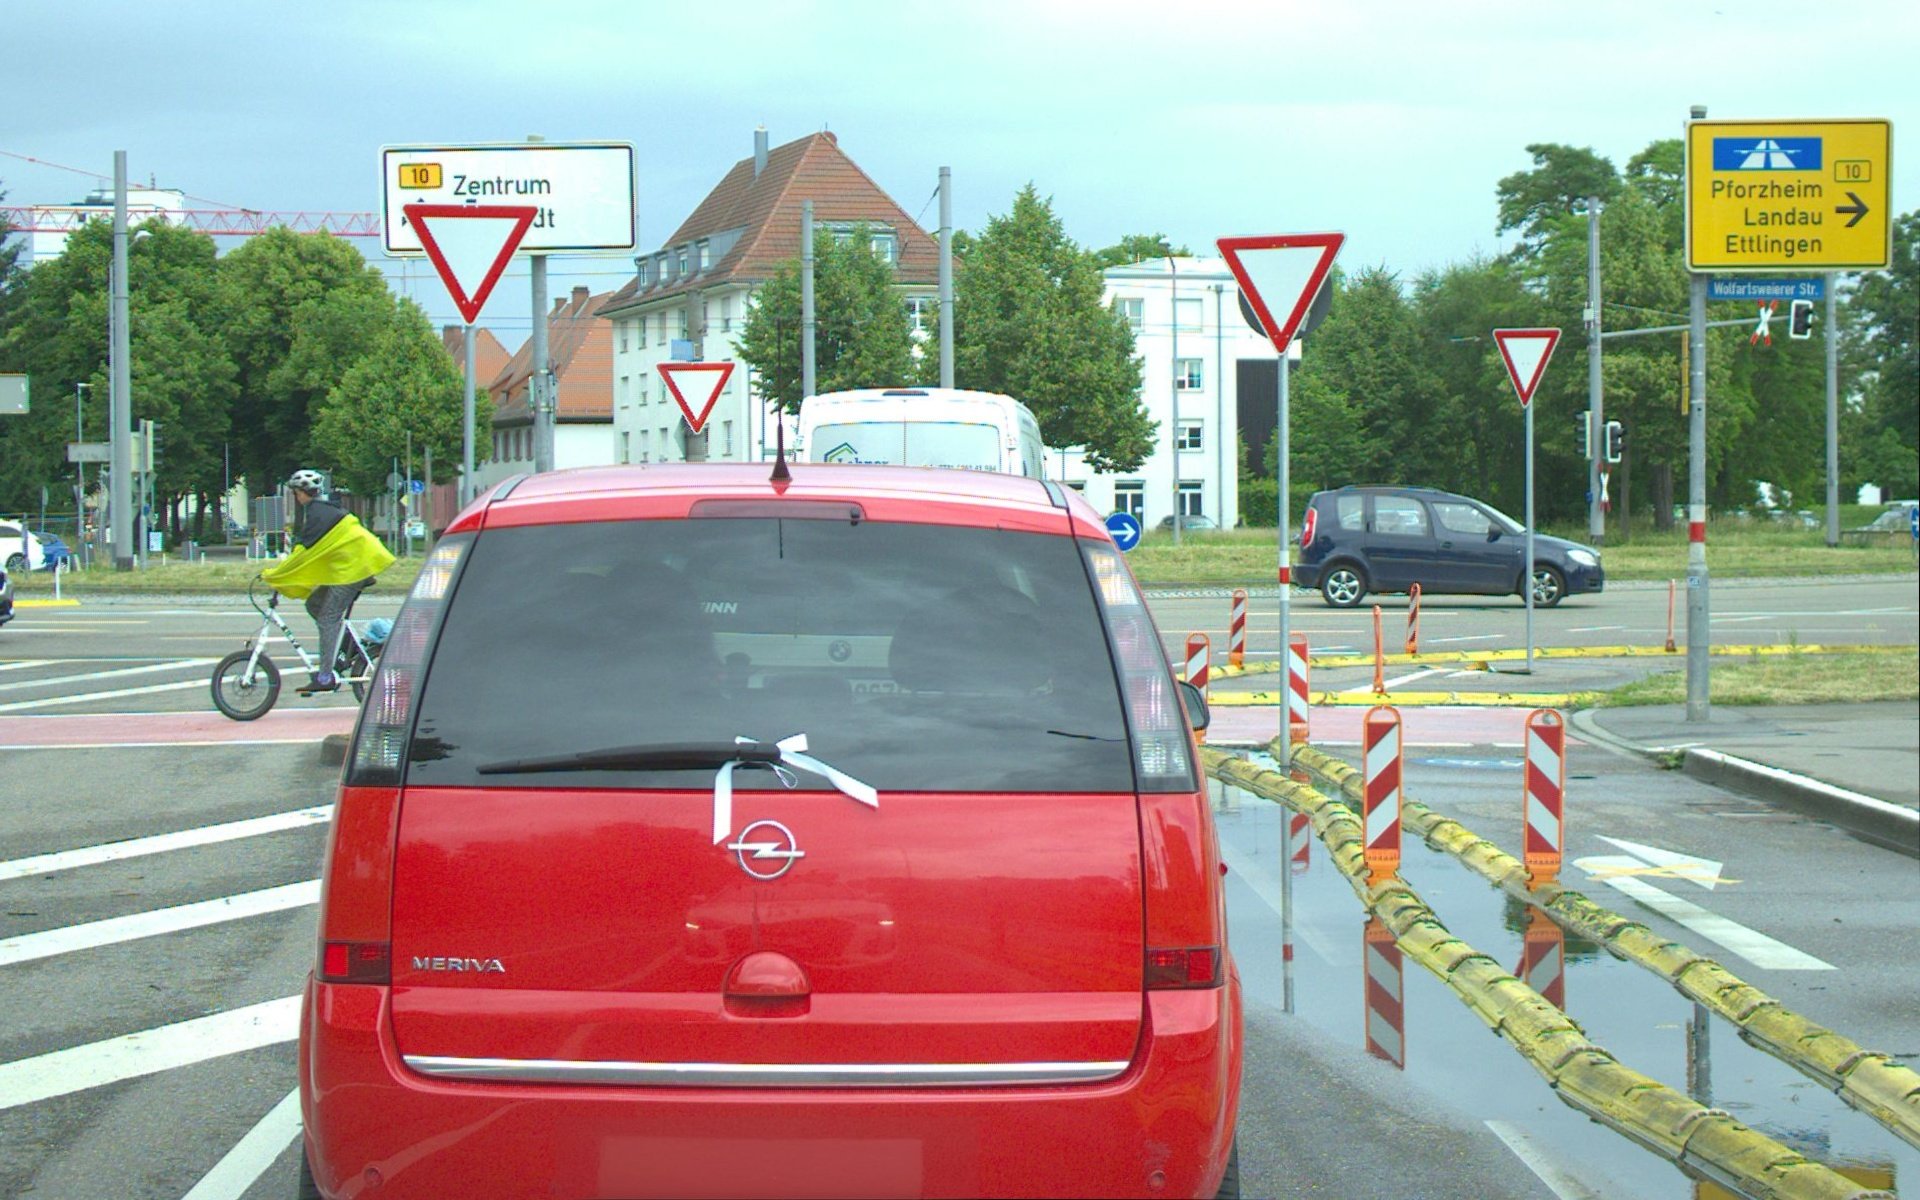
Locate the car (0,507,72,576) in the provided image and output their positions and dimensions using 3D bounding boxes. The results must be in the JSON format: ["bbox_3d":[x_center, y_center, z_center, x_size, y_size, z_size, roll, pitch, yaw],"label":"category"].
[{"bbox_3d":[-23.880,-1.383,82.649,1.998,1.629,4.665,1,2,37],"label":"car"}]

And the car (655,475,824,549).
[{"bbox_3d":[-6.190,-2.464,96.177,4.464,2.007,2.001,-1,2,-11],"label":"car"}]

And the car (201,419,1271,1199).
[{"bbox_3d":[-0.382,0.493,7.236,1.673,1.635,3.628,1,2,-1],"label":"car"}]

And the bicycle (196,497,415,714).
[{"bbox_3d":[-4.914,0.035,25.844,1.478,1.606,0.605,0,1,15],"label":"bicycle"}]

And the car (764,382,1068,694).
[{"bbox_3d":[-0.289,-0.580,30.651,2.195,2.531,4.962,1,2,5],"label":"car"}]

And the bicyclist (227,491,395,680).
[{"bbox_3d":[-4.871,-0.114,25.830,1.062,1.396,0.614,0,1,16],"label":"bicyclist"}]

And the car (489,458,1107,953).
[{"bbox_3d":[-0.578,0.292,13.852,2.059,1.642,4.608,1,2,-1],"label":"car"}]

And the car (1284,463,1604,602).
[{"bbox_3d":[6.583,-0.914,46.627,4.196,1.807,2.077,0,2,10],"label":"car"}]

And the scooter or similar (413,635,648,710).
[{"bbox_3d":[-3.205,0.536,25.771,1.607,0.502,0.924,-1,2,3],"label":"scooter or similar"}]

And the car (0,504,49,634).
[{"bbox_3d":[-13.784,-0.373,42.620,4.522,1.577,1.998,0,2,23],"label":"car"}]
